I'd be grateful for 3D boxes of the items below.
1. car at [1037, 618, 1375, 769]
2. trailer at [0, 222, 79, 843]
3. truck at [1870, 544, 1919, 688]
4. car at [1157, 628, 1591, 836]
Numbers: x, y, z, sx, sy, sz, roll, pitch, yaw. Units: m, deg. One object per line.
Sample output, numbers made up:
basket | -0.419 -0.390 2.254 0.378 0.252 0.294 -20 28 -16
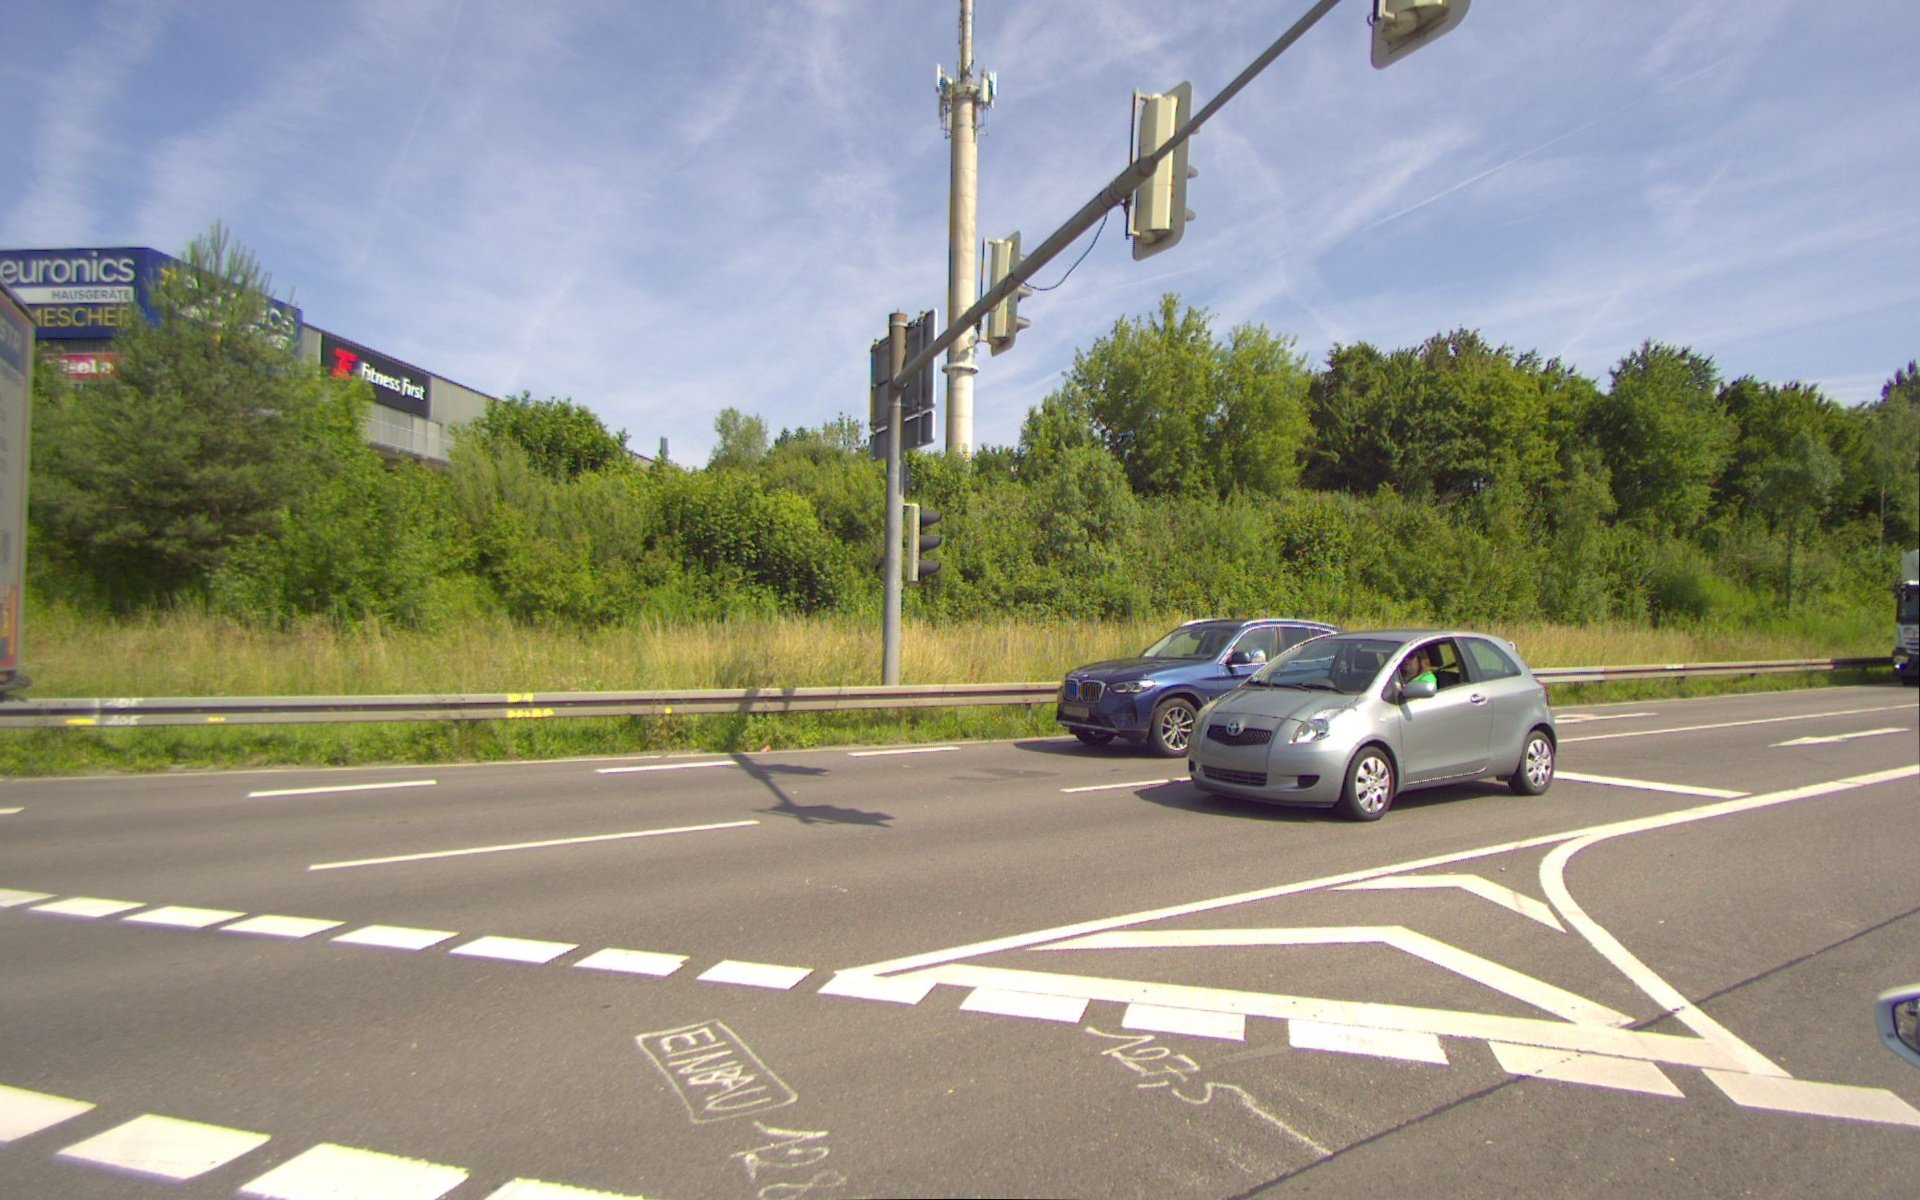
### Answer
car | 3.312 1.126 13.323 4.260 1.698 1.983 2 -2 -32
trailer | -12.579 -0.562 3.406 13.970 4.133 3.077 2 -2 -32
truck | 31.335 0.551 30.699 9.513 4.051 2.714 2 -2 -32
car | 3.841 1.038 9.162 3.956 1.522 1.716 2 -2 -33
